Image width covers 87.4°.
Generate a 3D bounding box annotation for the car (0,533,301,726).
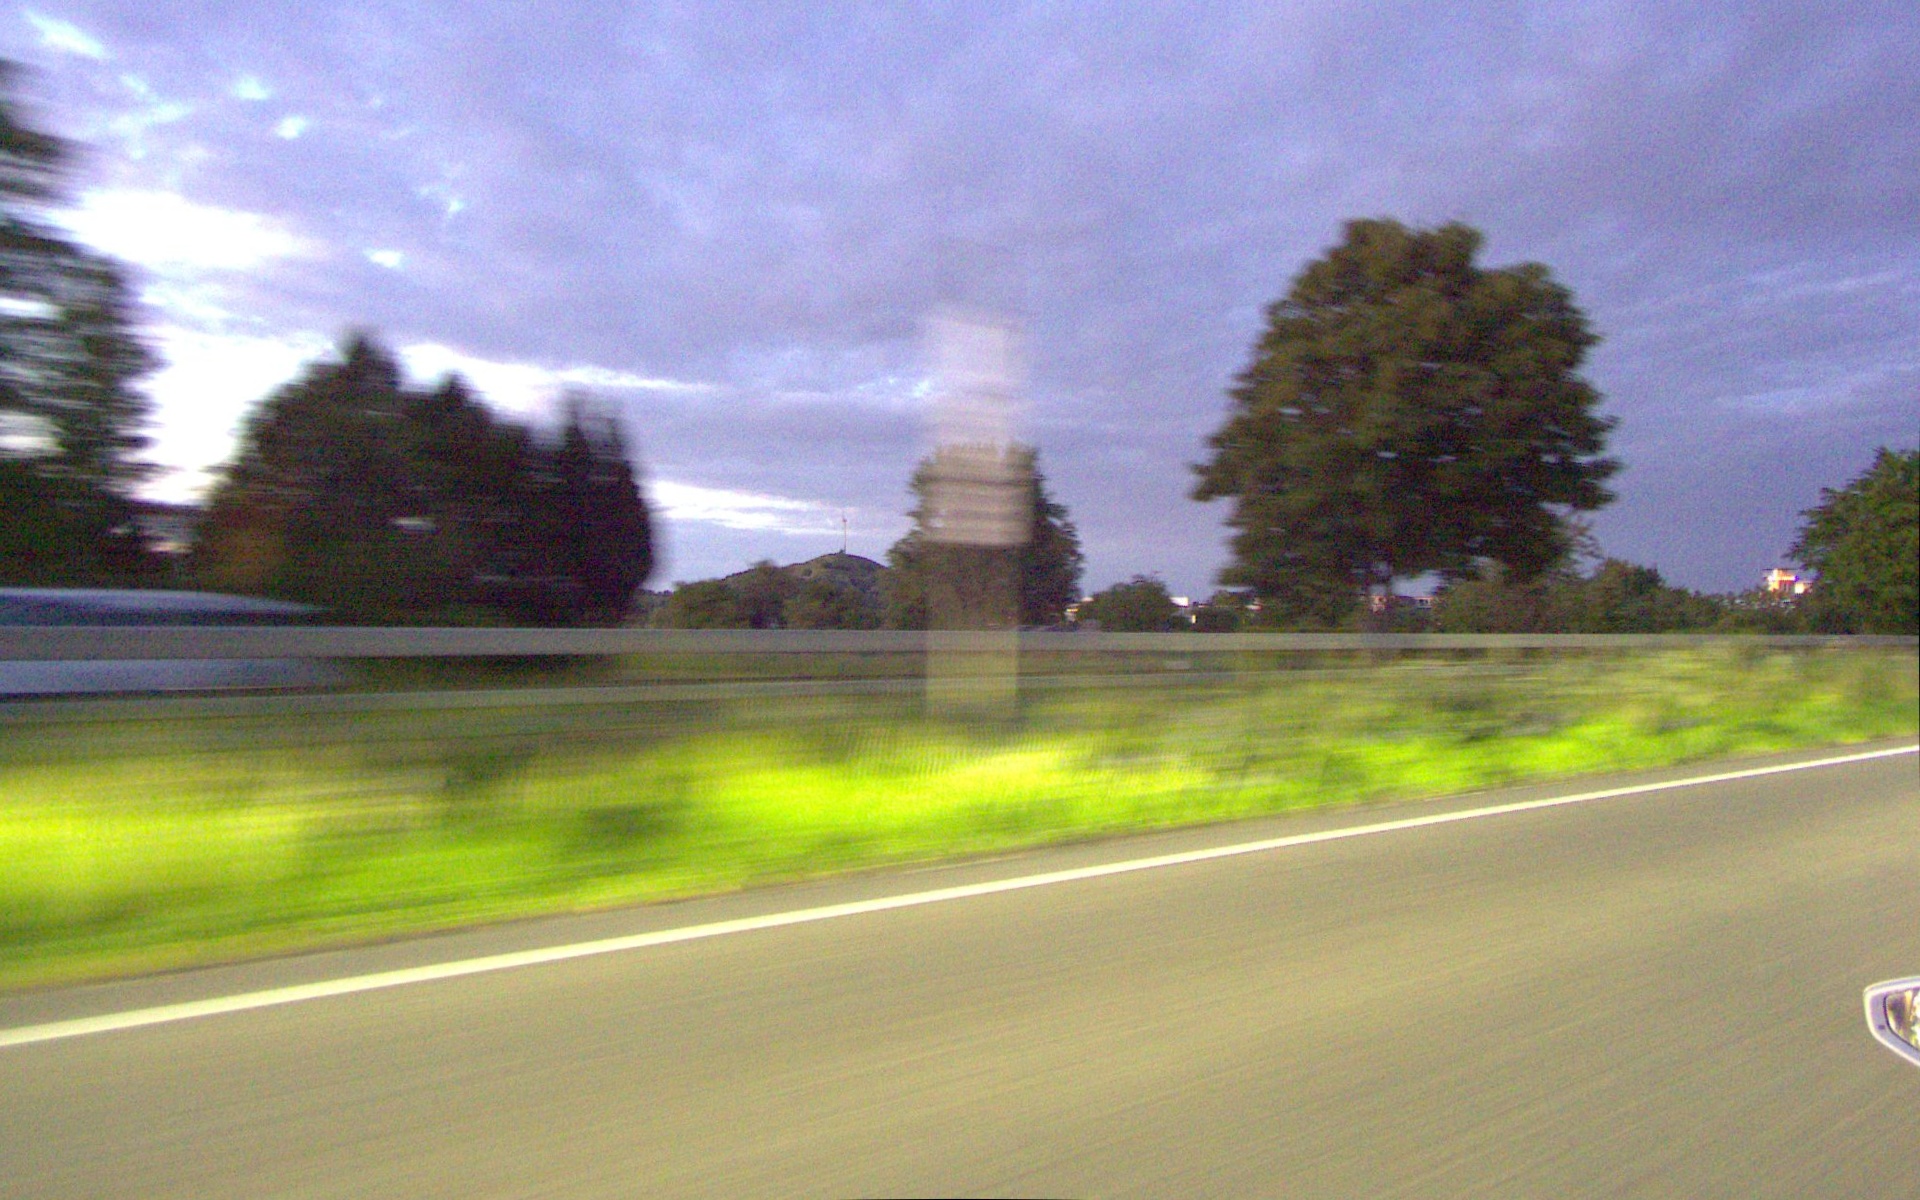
[{"bbox_3d":[-8.091,0.216,8.630,3.955,1.525,1.646,1,1,-31],"label":"car"}]
